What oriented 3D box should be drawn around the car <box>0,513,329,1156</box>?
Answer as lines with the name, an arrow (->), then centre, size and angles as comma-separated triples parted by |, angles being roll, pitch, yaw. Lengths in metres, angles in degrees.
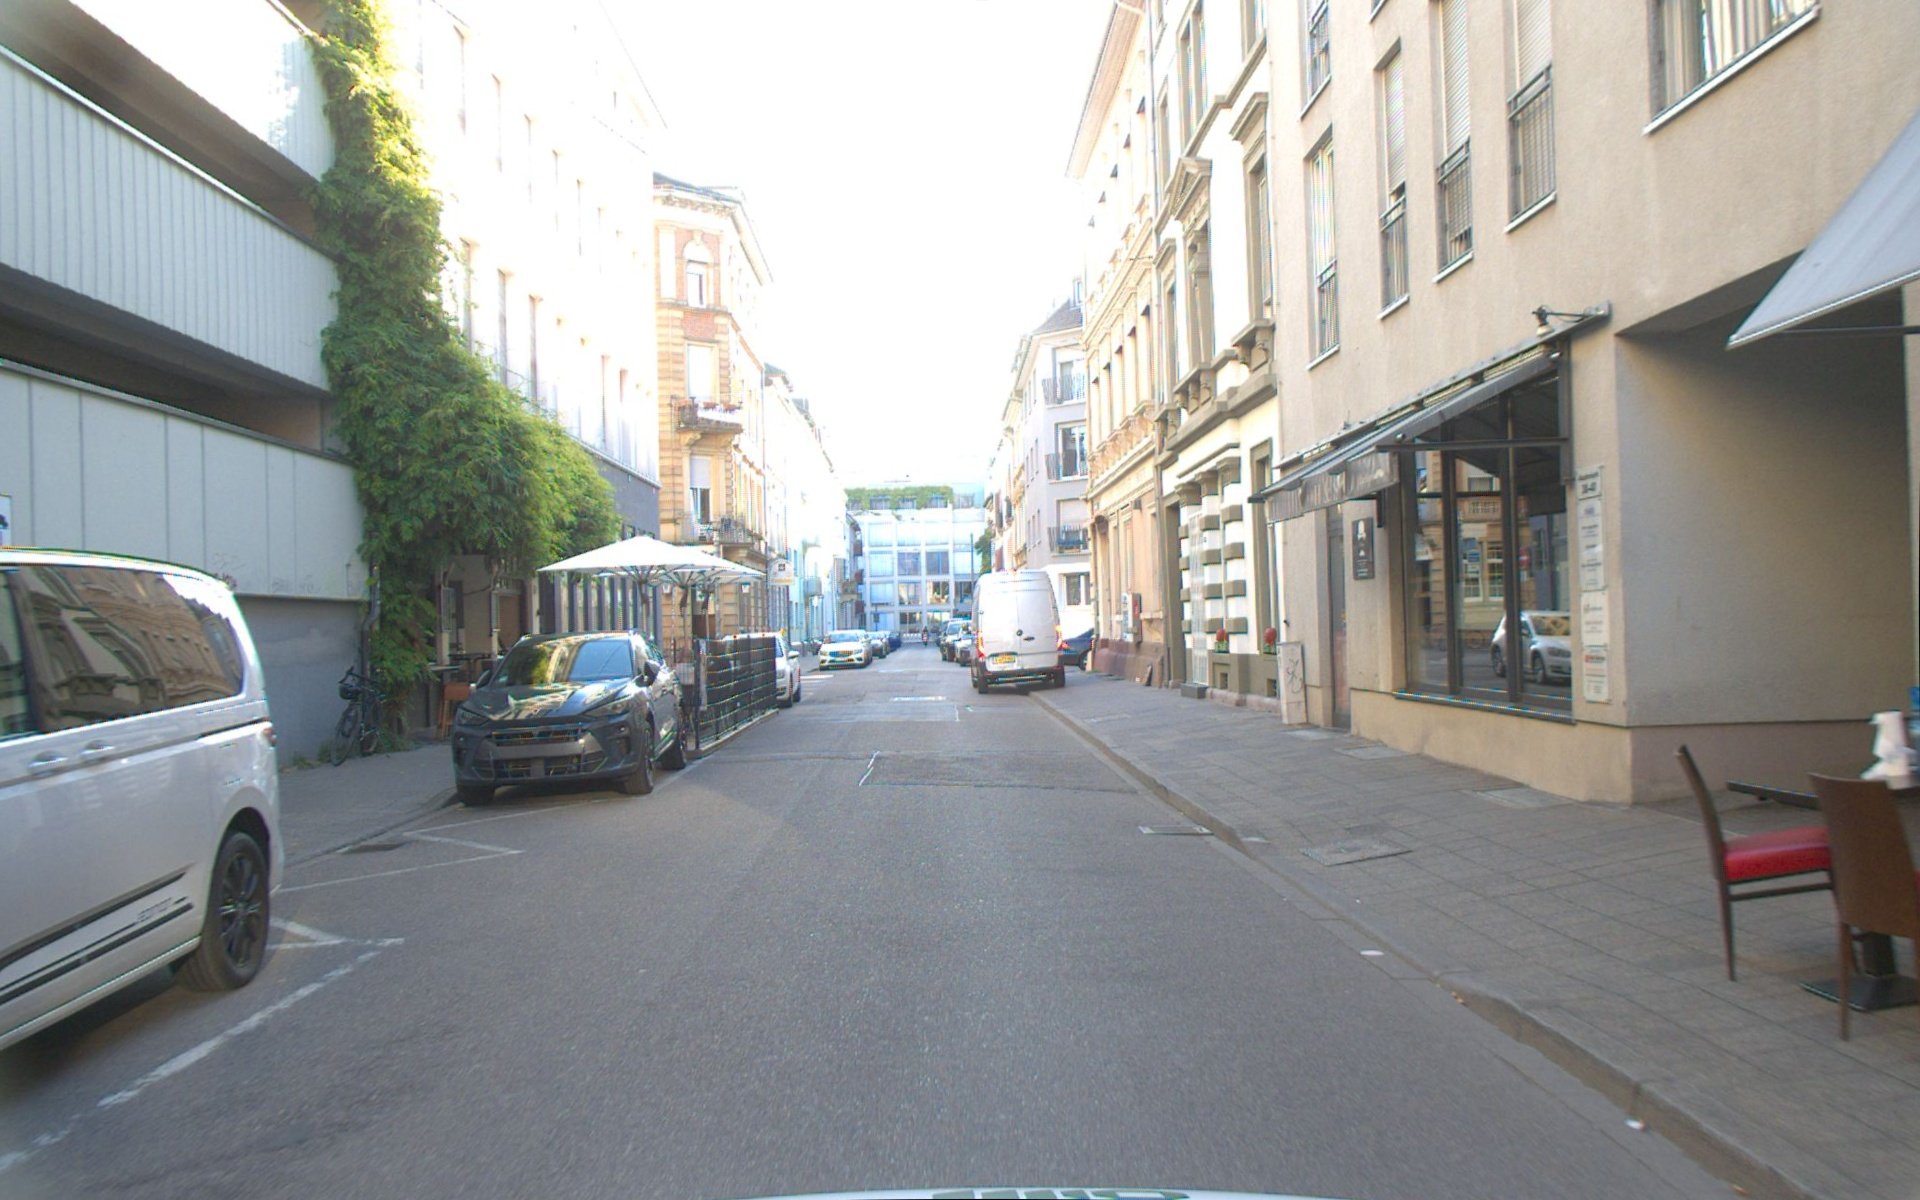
car -> -3.985, 0.777, 5.637 | 1.954, 1.973, 4.847 | -3, -1, -3

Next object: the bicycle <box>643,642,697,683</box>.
bicycle -> -9.867, 2.132, 56.344 | 1.723, 1.297, 0.660 | -2, 2, -5

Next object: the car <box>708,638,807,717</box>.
car -> -4.064, 1.531, 33.612 | 1.624, 1.439, 3.880 | -2, -1, -2

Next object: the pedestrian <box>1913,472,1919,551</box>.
pedestrian -> 4.088, 0.384, 6.028 | 0.644, 1.823, 0.730 | -5, -1, -1

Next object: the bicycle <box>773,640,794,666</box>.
bicycle -> -8.139, 2.432, 76.349 | 0.722, 1.181, 2.460 | -1, -1, -1

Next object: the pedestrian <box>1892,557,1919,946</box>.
pedestrian -> 4.127, 0.572, 6.216 | 0.808, 1.512, 0.661 | -2, -1, -3

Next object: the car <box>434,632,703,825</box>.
car -> -3.920, 1.207, 17.384 | 1.844, 1.595, 4.767 | -4, -1, -3

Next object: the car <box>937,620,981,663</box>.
car -> -0.075, 1.885, 75.585 | 1.855, 1.815, 3.998 | -2, -1, -2

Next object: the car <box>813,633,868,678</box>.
car -> -4.652, 2.145, 64.929 | 1.954, 1.591, 4.503 | -3, -1, -3

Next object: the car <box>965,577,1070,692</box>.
car -> 1.275, 0.811, 39.598 | 2.230, 2.482, 6.202 | -2, -1, 0

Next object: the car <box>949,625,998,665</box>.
car -> 0.546, 1.908, 70.179 | 1.924, 1.584, 3.887 | -2, -1, -2

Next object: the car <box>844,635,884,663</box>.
car -> -5.091, 2.607, 87.948 | 1.953, 1.378, 4.427 | -2, -1, -2

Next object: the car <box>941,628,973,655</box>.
car -> -0.216, 2.792, 111.389 | 1.953, 1.730, 3.998 | -1, -1, -2

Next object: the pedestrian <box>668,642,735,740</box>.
pedestrian -> -3.648, 1.272, 23.399 | 0.765, 1.309, 0.915 | -2, -1, -1

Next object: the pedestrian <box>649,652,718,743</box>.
pedestrian -> -3.741, 1.315, 22.407 | 0.542, 1.186, 0.740 | -3, -1, 31

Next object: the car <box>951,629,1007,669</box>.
car -> 0.712, 1.879, 64.113 | 1.899, 1.396, 3.786 | -3, -1, -2

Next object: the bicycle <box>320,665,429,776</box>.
bicycle -> -6.852, 1.386, 19.439 | 0.630, 1.180, 1.794 | -1, -1, 0
